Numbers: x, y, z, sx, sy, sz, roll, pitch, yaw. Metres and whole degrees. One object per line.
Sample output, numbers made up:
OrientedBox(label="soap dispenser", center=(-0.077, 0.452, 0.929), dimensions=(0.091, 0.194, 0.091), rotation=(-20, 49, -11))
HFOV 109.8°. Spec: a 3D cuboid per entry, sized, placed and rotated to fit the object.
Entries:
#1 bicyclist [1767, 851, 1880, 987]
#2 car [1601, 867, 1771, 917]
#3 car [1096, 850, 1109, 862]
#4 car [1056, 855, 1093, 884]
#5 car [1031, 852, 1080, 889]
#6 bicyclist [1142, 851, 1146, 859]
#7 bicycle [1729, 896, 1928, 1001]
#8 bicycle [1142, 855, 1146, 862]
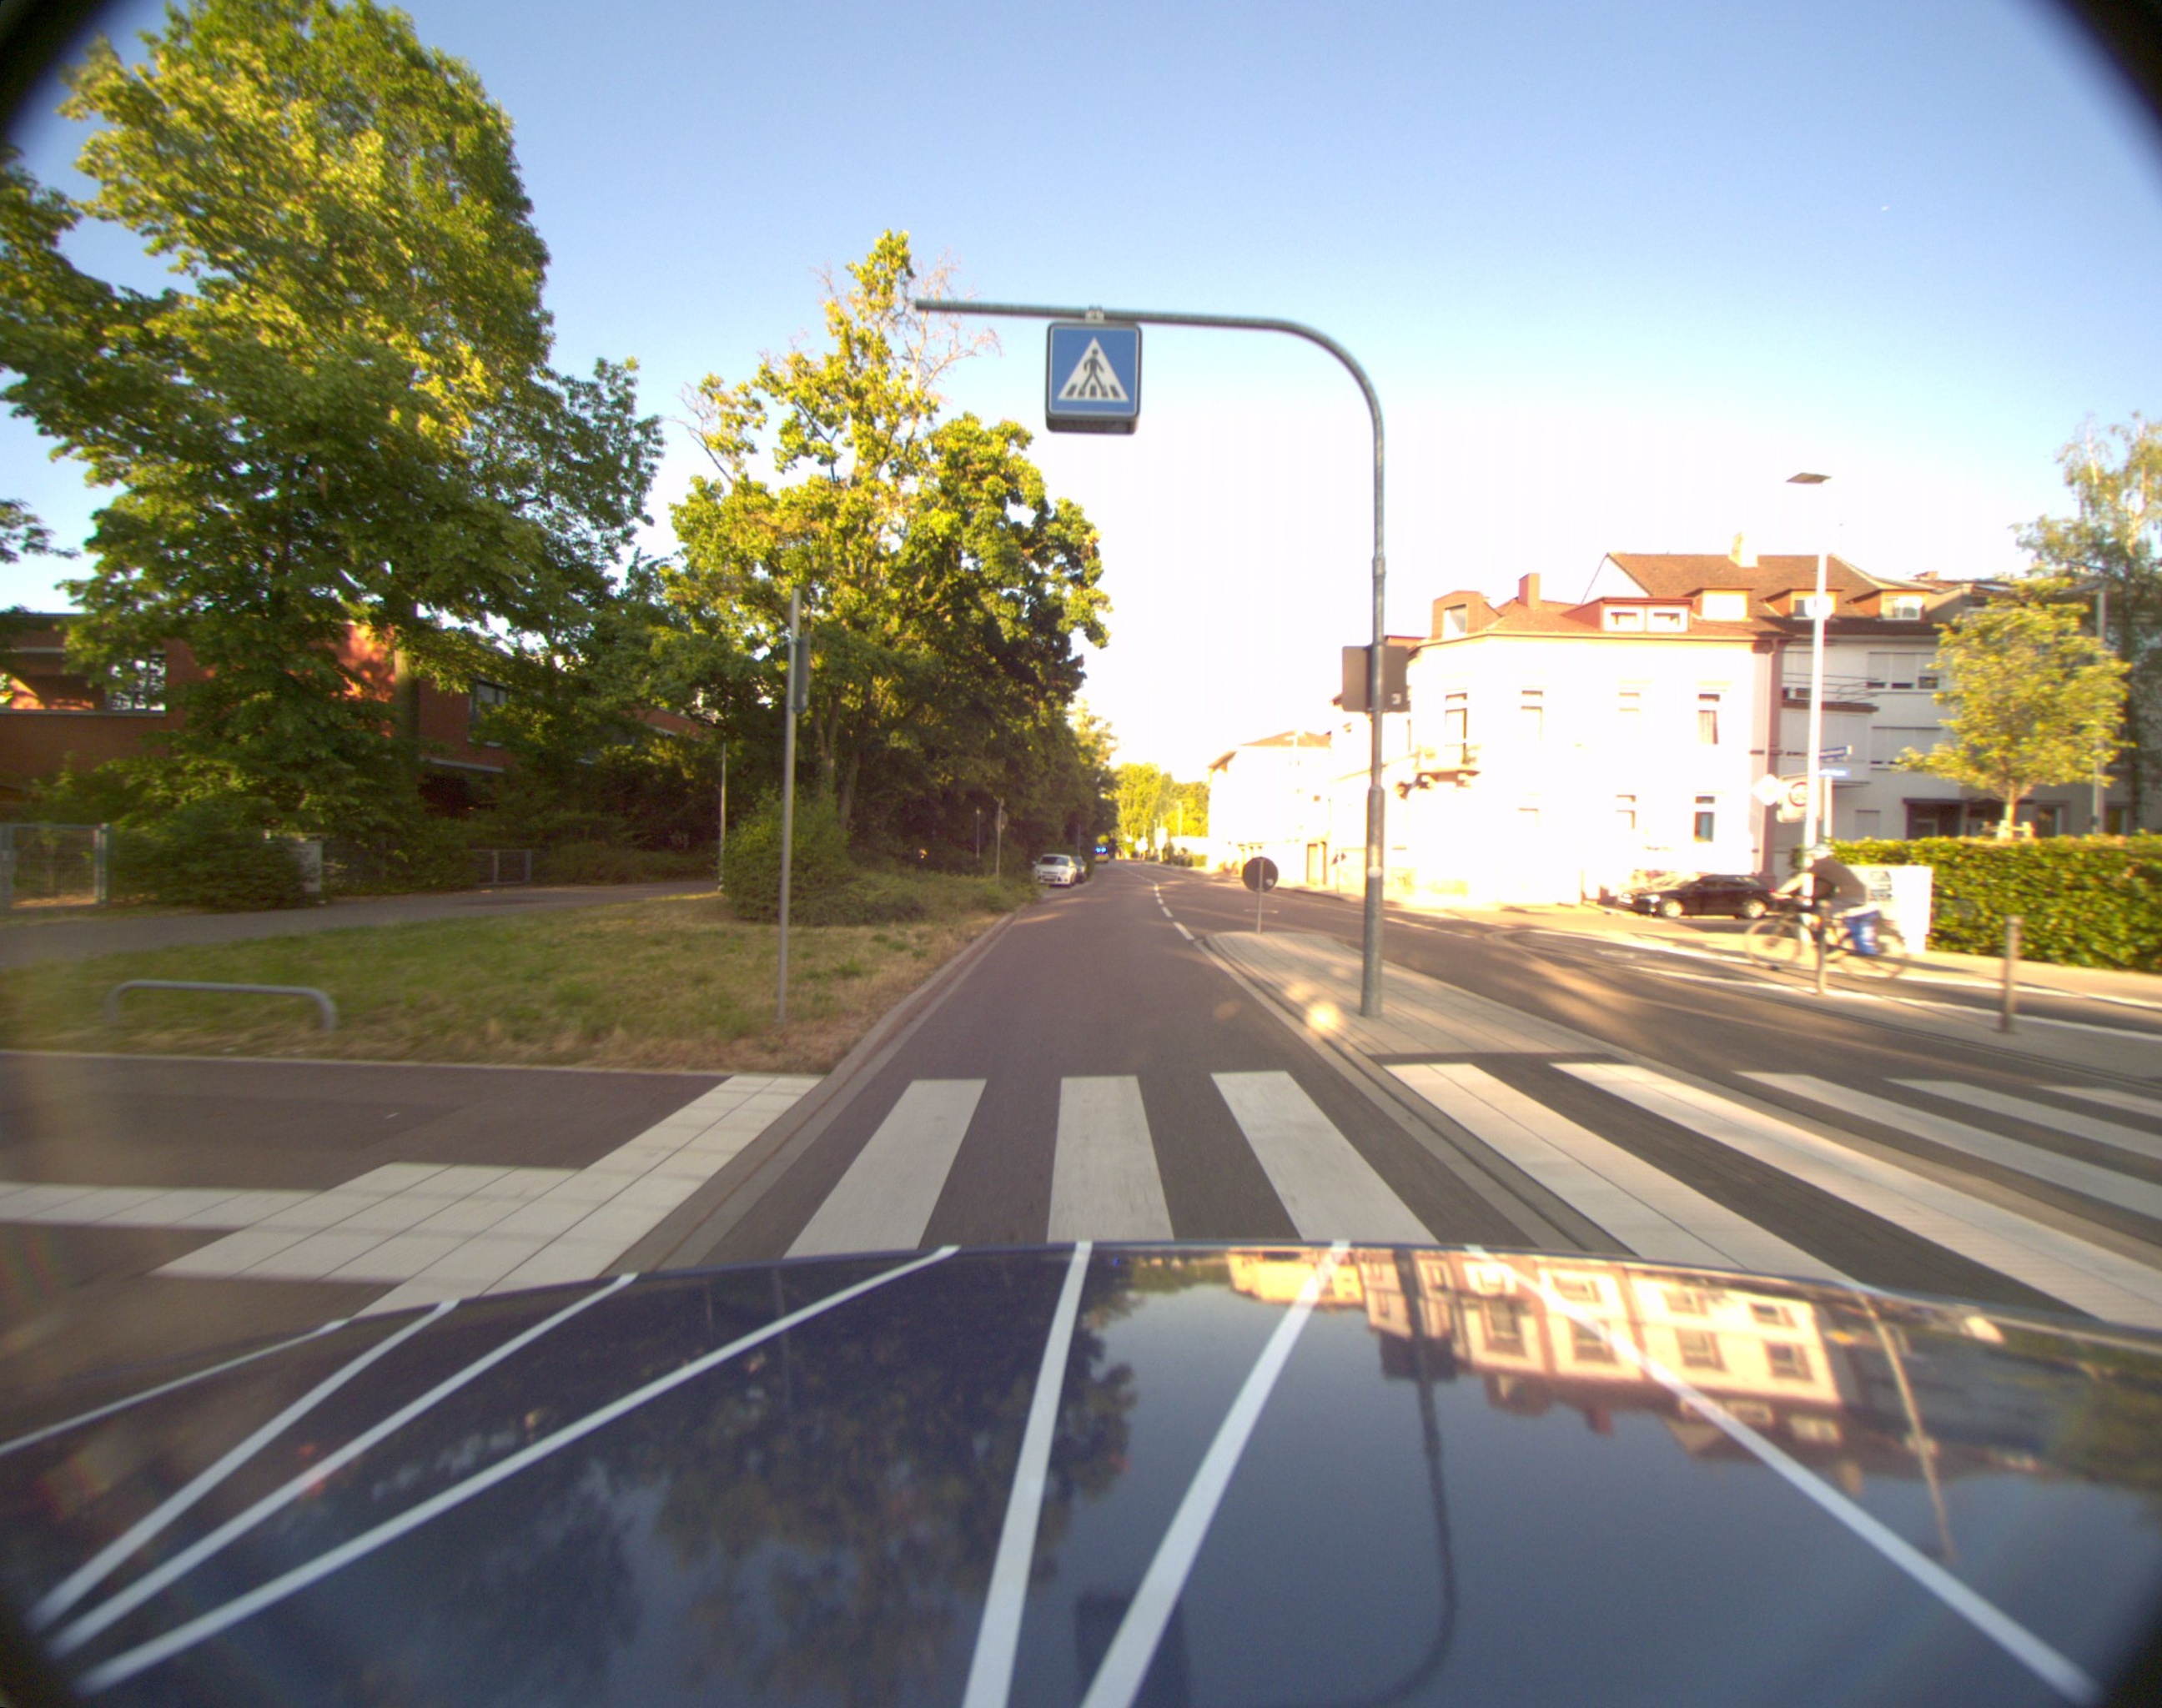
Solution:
OrientedBox(label="bicyclist", center=(9.372, 0.790, 9.624), dimensions=(0.628, 1.635, 0.757), rotation=(1, 1, 0))
OrientedBox(label="car", center=(19.184, 1.181, 24.223), dimensions=(3.916, 1.430, 1.904), rotation=(1, 1, -1))
OrientedBox(label="car", center=(3.818, 0.334, 134.529), dimensions=(2.228, 2.002, 4.891), rotation=(1, 0, 2))
OrientedBox(label="car", center=(-0.317, 0.807, 41.527), dimensions=(1.752, 1.478, 4.509), rotation=(1, 0, 3))
OrientedBox(label="car", center=(-1.118, 0.707, 34.931), dimensions=(1.752, 1.478, 4.177), rotation=(3, 0, 4))
OrientedBox(label="bicyclist", center=(10.209, 0.198, 122.960), dimensions=(0.479, 1.258, 0.567), rotation=(1, 1, 0))
OrientedBox(label="bicycle", center=(9.367, 1.138, 9.646), dimensions=(0.635, 1.072, 1.883), rotation=(1, 1, 0))
OrientedBox(label="bicycle", center=(10.204, 0.778, 122.957), dimensions=(0.576, 1.056, 1.849), rotation=(1, 0, 0))
